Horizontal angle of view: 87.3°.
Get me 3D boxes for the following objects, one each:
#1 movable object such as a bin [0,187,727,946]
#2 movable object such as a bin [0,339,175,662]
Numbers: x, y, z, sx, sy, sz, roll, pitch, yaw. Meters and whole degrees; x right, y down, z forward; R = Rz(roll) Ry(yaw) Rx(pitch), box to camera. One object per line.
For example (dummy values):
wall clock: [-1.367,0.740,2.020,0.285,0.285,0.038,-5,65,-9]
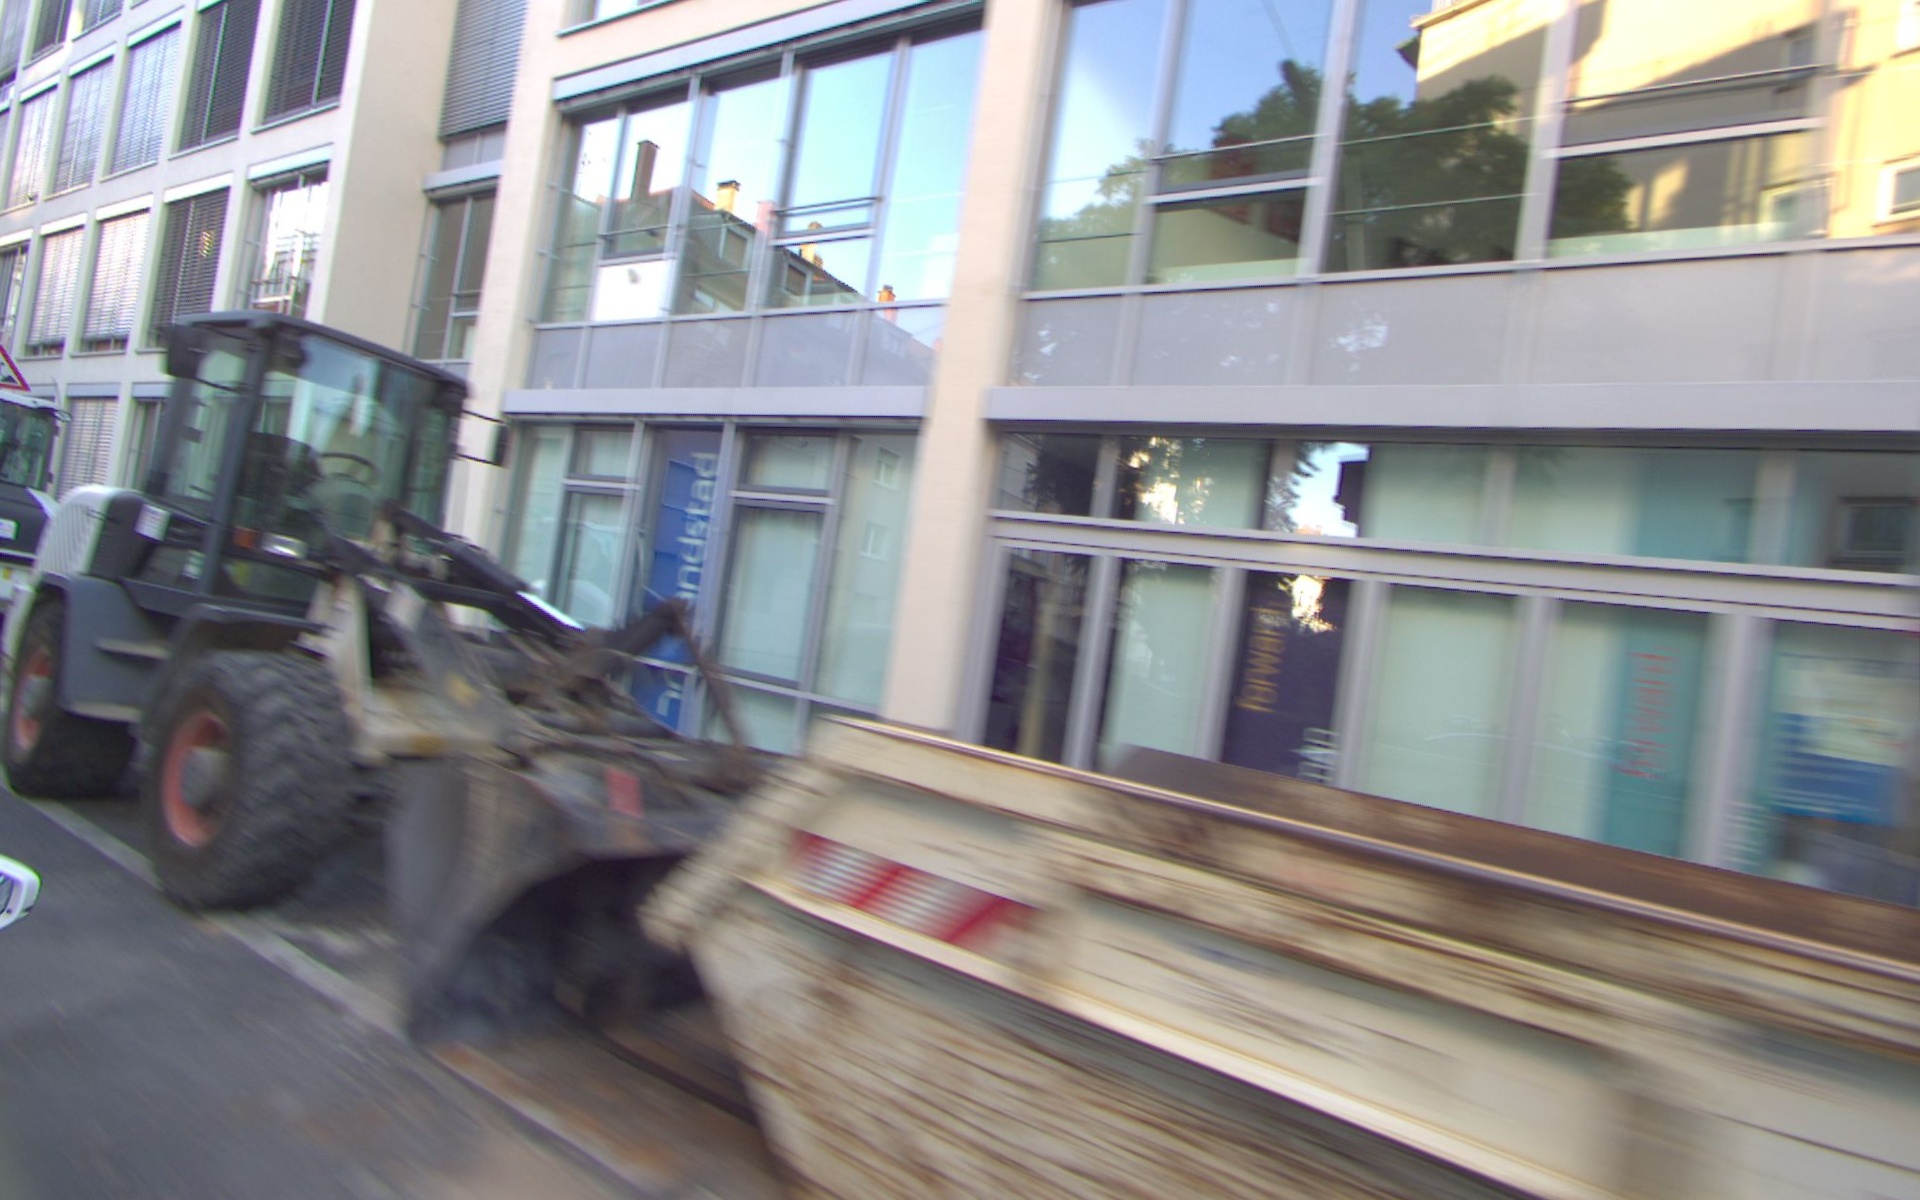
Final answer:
movable object such as a bin: [-3.495,-0.243,5.392,4.045,2.664,1.799,8,-1,35]
movable object such as a bin: [-10.342,-1.165,9.908,5.452,2.625,2.171,8,-2,33]
